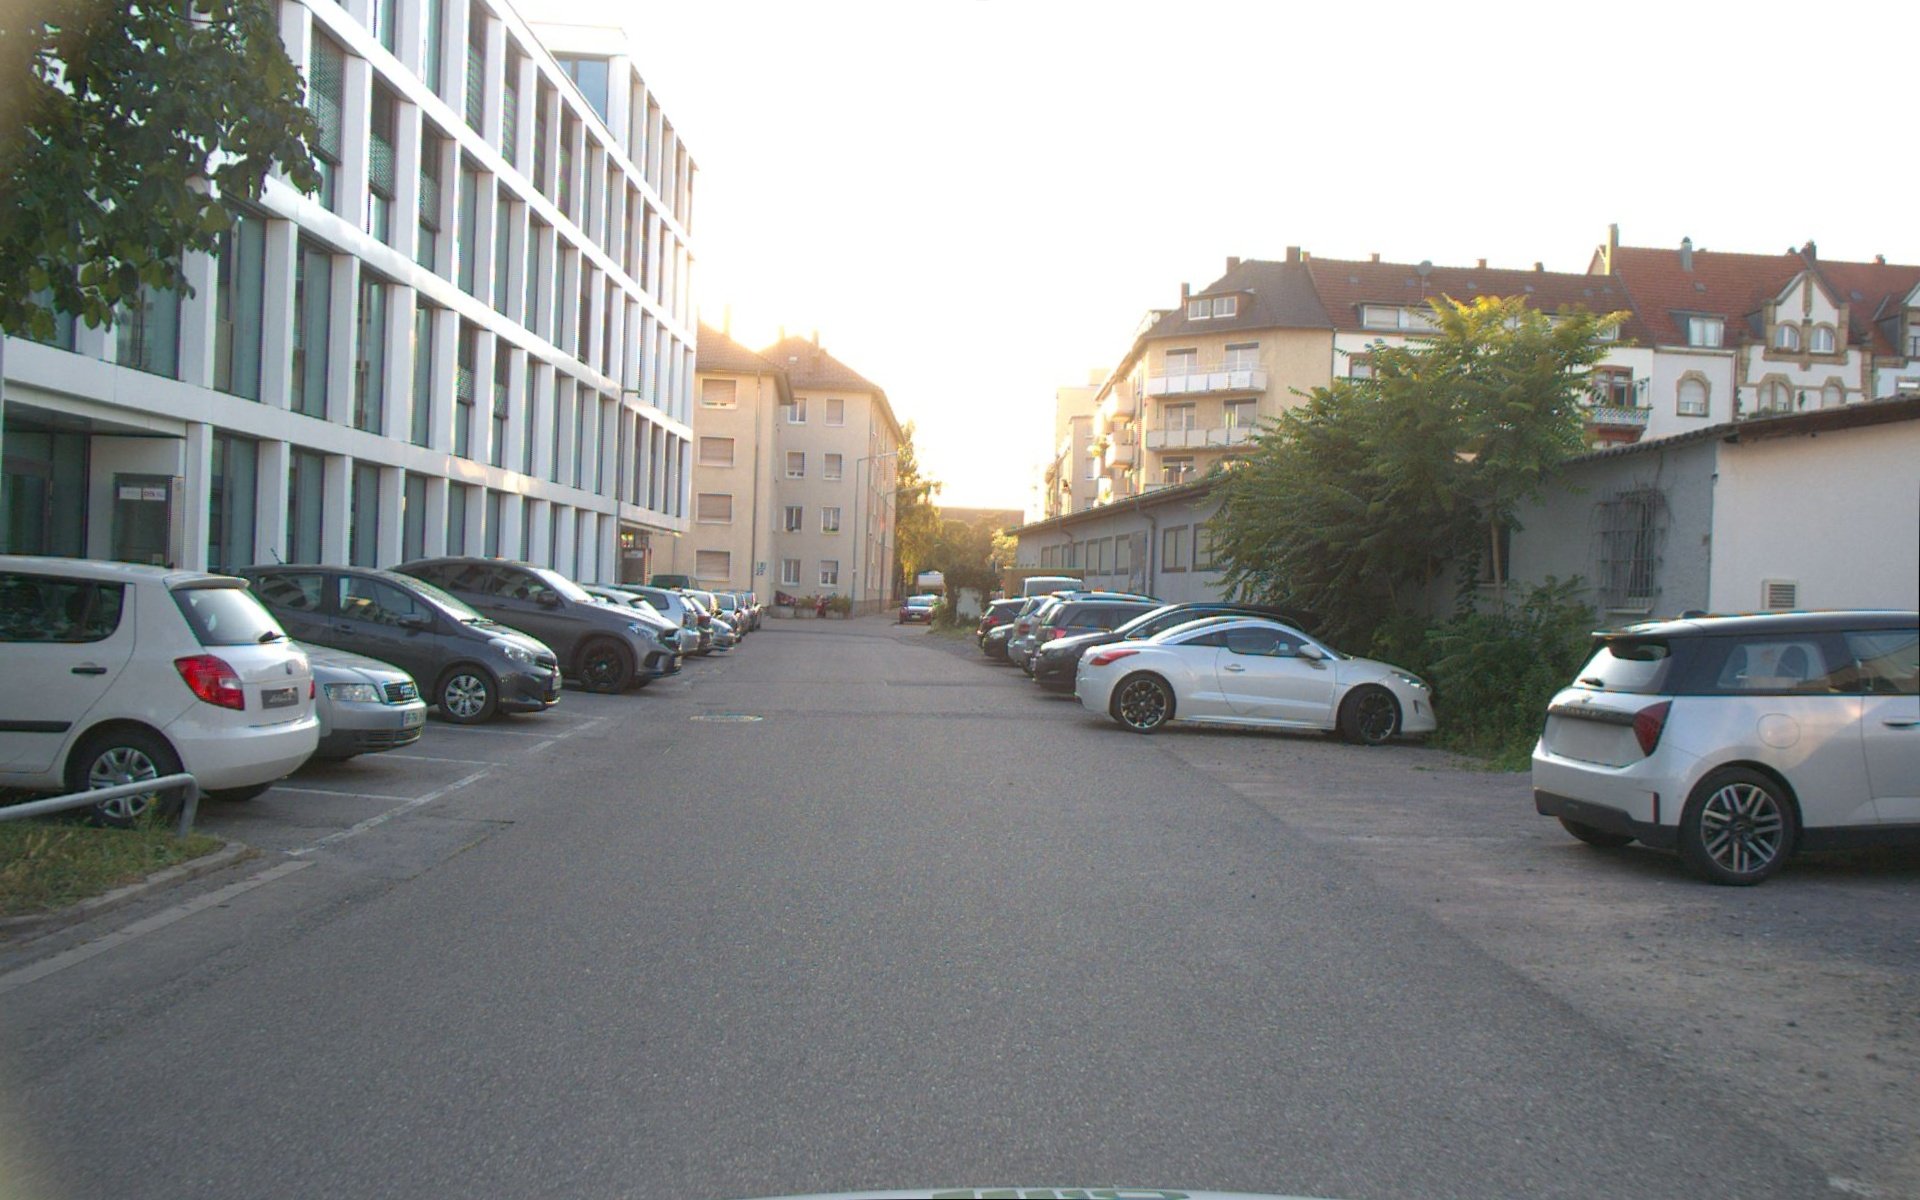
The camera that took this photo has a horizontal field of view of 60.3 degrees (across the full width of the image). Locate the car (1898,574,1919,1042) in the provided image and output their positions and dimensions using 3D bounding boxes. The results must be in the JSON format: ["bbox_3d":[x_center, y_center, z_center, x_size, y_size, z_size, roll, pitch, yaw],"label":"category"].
[{"bbox_3d":[5.334,0.733,5.268,3.932,1.591,1.708,1,0,-11],"label":"car"}]

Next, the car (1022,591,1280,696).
[{"bbox_3d":[3.059,0.696,27.046,3.904,1.470,1.826,3,-1,-3],"label":"car"}]

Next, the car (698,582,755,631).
[{"bbox_3d":[-8.178,0.199,58.112,1.677,1.504,4.180,5,0,-6],"label":"car"}]

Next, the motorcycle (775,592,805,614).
[{"bbox_3d":[-8.812,0.161,85.825,0.708,1.098,2.081,2,0,21],"label":"motorcycle"}]

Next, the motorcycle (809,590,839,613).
[{"bbox_3d":[-7.244,0.086,88.383,0.675,1.180,2.033,2,0,24],"label":"motorcycle"}]

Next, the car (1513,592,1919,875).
[{"bbox_3d":[5.412,0.732,9.867,3.632,1.505,1.710,1,0,-5],"label":"car"}]

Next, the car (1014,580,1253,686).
[{"bbox_3d":[3.065,0.572,29.645,3.908,1.647,1.824,3,0,-7],"label":"car"}]

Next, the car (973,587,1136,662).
[{"bbox_3d":[2.212,0.567,39.568,3.684,1.562,1.891,3,1,-2],"label":"car"}]

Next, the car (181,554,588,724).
[{"bbox_3d":[-6.035,0.391,17.680,3.706,1.549,1.692,3,1,-3],"label":"car"}]

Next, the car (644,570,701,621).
[{"bbox_3d":[-11.895,-0.215,68.728,1.762,2.014,4.686,2,1,-3],"label":"car"}]

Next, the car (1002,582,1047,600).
[{"bbox_3d":[5.686,-0.760,146.219,3.905,1.557,1.659,0,0,-1],"label":"car"}]

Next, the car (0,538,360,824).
[{"bbox_3d":[-5.813,0.390,10.060,3.633,1.521,1.707,3,1,-2],"label":"car"}]

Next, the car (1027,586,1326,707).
[{"bbox_3d":[3.131,0.678,24.522,4.118,1.529,1.889,3,-1,-2],"label":"car"}]

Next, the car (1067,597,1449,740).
[{"bbox_3d":[3.394,0.767,19.428,4.116,1.391,1.823,3,0,0],"label":"car"}]

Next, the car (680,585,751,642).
[{"bbox_3d":[-7.144,0.353,48.638,1.616,1.463,4.181,5,0,-4],"label":"car"}]

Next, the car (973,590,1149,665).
[{"bbox_3d":[2.228,0.621,37.224,3.686,1.469,1.843,3,-1,-4],"label":"car"}]

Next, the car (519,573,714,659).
[{"bbox_3d":[-6.997,0.309,33.903,3.580,1.537,1.687,3,1,-1],"label":"car"}]

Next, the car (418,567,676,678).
[{"bbox_3d":[-6.526,0.334,26.401,3.591,1.537,1.697,3,1,2],"label":"car"}]

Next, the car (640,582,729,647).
[{"bbox_3d":[-7.080,0.342,42.781,1.615,1.463,4.200,5,0,-2],"label":"car"}]

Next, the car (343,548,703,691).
[{"bbox_3d":[-6.179,0.250,23.762,4.523,1.735,2.005,3,1,2],"label":"car"}]

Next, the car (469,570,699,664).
[{"bbox_3d":[-7.091,0.309,31.444,3.884,1.537,1.796,3,1,0],"label":"car"}]

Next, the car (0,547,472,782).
[{"bbox_3d":[-6.160,0.423,12.708,4.220,1.521,1.795,3,1,0],"label":"car"}]

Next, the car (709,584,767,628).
[{"bbox_3d":[-8.511,0.209,63.776,1.745,1.504,4.328,5,0,-3],"label":"car"}]

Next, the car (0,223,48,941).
[{"bbox_3d":[-6.209,-0.168,5.317,5.271,2.678,2.078,3,0,0],"label":"car"}]

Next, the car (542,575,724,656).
[{"bbox_3d":[-7.096,0.325,36.155,3.580,1.537,1.687,3,1,-1],"label":"car"}]

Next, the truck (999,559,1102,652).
[{"bbox_3d":[2.318,0.123,43.817,2.056,2.239,5.707,2,0,-3],"label":"truck"}]

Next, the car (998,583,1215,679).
[{"bbox_3d":[2.807,0.586,32.320,3.906,1.637,1.937,3,0,-4],"label":"car"}]

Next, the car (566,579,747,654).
[{"bbox_3d":[-7.056,0.370,38.724,3.846,1.537,1.687,3,1,-1],"label":"car"}]

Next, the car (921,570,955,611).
[{"bbox_3d":[-1.756,-0.761,136.012,2.566,3.326,7.697,0,0,1],"label":"car"}]

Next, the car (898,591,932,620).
[{"bbox_3d":[-2.441,0.300,90.554,1.808,1.499,4.077,2,0,-1],"label":"car"}]
